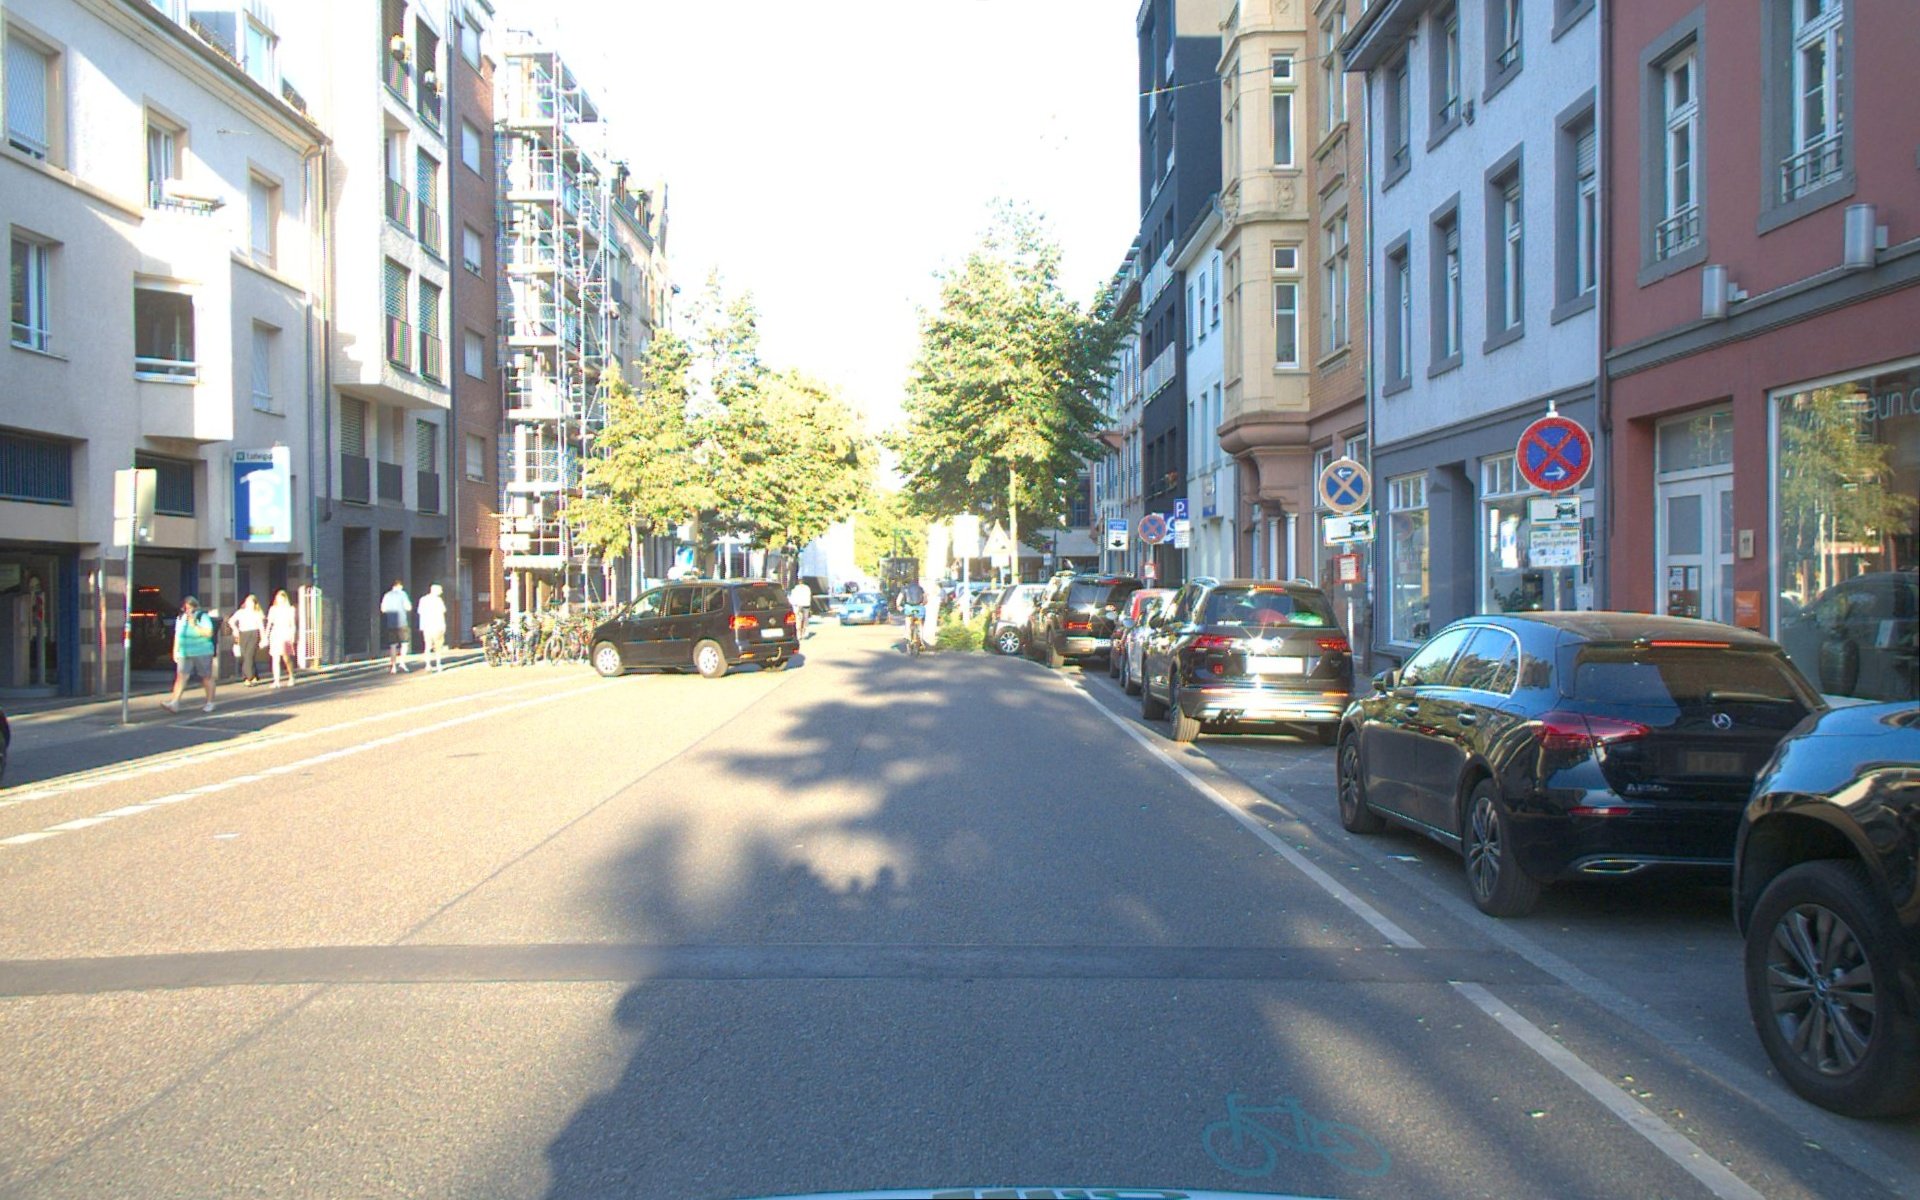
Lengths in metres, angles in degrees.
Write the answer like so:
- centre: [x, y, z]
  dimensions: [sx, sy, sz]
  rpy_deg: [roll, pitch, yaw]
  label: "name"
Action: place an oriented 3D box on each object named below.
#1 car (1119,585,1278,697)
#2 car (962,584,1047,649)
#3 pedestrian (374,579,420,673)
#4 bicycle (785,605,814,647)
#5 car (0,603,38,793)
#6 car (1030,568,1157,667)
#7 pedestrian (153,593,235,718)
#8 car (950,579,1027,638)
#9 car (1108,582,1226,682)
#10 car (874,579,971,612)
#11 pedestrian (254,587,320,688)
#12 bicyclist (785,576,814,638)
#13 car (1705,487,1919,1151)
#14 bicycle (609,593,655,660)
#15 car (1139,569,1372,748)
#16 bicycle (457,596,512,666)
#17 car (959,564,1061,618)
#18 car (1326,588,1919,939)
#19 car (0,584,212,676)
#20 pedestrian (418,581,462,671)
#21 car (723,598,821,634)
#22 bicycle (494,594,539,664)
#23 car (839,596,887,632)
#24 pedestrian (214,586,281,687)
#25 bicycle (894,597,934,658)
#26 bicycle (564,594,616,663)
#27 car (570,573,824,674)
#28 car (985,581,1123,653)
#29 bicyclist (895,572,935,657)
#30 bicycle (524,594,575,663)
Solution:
- centre: [3.212, 0.513, 22.874]
  dimensions: [1.632, 1.402, 3.802]
  rpy_deg: [1, 0, 0]
  label: "car"
- centre: [1.176, 0.425, 45.945]
  dimensions: [1.954, 1.697, 4.506]
  rpy_deg: [1, 0, -4]
  label: "car"
- centre: [-10.954, 0.507, 32.185]
  dimensions: [0.703, 1.798, 0.693]
  rpy_deg: [1, 0, -9]
  label: "pedestrian"
- centre: [-4.852, 0.768, 50.043]
  dimensions: [0.765, 1.225, 2.019]
  rpy_deg: [-1, 0, -3]
  label: "bicycle"
- centre: [-8.761, 0.822, 12.653]
  dimensions: [1.756, 1.562, 3.187]
  rpy_deg: [0, 1, -4]
  label: "car"
- centre: [2.458, 0.304, 31.444]
  dimensions: [1.788, 1.725, 4.365]
  rpy_deg: [1, 0, -4]
  label: "car"
- centre: [-10.526, 0.745, 22.747]
  dimensions: [0.702, 1.670, 0.951]
  rpy_deg: [1, 0, -3]
  label: "pedestrian"
- centre: [0.967, 0.284, 59.063]
  dimensions: [2.221, 1.796, 4.506]
  rpy_deg: [5, 0, -4]
  label: "car"
- centre: [3.293, 0.488, 26.822]
  dimensions: [1.554, 1.509, 3.267]
  rpy_deg: [1, 0, 1]
  label: "car"
- centre: [-1.801, -0.216, 79.496]
  dimensions: [4.408, 1.506, 1.867]
  rpy_deg: [1, 0, -36]
  label: "car"
- centre: [-11.318, 0.616, 27.849]
  dimensions: [0.701, 1.670, 0.855]
  rpy_deg: [1, 0, 4]
  label: "pedestrian"
- centre: [-4.854, 0.205, 50.047]
  dimensions: [0.765, 1.861, 1.006]
  rpy_deg: [-1, 0, -3]
  label: "bicyclist"
- centre: [3.559, 0.602, 3.146]
  dimensions: [1.845, 1.785, 5.056]
  rpy_deg: [1, 0, -2]
  label: "car"
- centre: [-7.065, 0.541, 35.753]
  dimensions: [0.829, 1.374, 3.180]
  rpy_deg: [-1, 0, -9]
  label: "bicycle"
- centre: [3.067, 0.557, 17.995]
  dimensions: [1.775, 1.697, 4.205]
  rpy_deg: [1, 0, 0]
  label: "car"
- centre: [-10.098, 0.621, 35.205]
  dimensions: [0.707, 1.420, 3.146]
  rpy_deg: [1, 0, -9]
  label: "bicycle"
- centre: [1.981, -0.355, 64.694]
  dimensions: [3.903, 2.049, 2.001]
  rpy_deg: [-1, 1, 3]
  label: "car"
- centre: [3.420, 0.712, 9.359]
  dimensions: [1.726, 1.509, 4.306]
  rpy_deg: [1, 0, 0]
  label: "car"
- centre: [-16.713, 0.526, 31.040]
  dimensions: [4.401, 1.629, 2.001]
  rpy_deg: [1, 0, 2]
  label: "car"
- centre: [-10.344, 0.516, 32.913]
  dimensions: [0.703, 1.771, 0.737]
  rpy_deg: [1, 0, -9]
  label: "pedestrian"
- centre: [-8.162, 0.678, 72.195]
  dimensions: [4.018, 1.491, 1.890]
  rpy_deg: [1, 0, 1]
  label: "car"
- centre: [-9.443, 0.587, 35.323]
  dimensions: [0.574, 1.420, 3.154]
  rpy_deg: [1, 0, -9]
  label: "bicycle"
- centre: [-4.238, 0.585, 72.524]
  dimensions: [1.800, 1.466, 4.332]
  rpy_deg: [1, 0, 0]
  label: "car"
- centre: [-12.026, 0.599, 27.949]
  dimensions: [0.701, 1.670, 0.855]
  rpy_deg: [1, 0, 4]
  label: "pedestrian"
- centre: [-0.980, 0.557, 34.872]
  dimensions: [0.765, 1.225, 2.019]
  rpy_deg: [-1, 0, -3]
  label: "bicycle"
- centre: [-7.935, 0.574, 35.604]
  dimensions: [0.876, 1.420, 3.159]
  rpy_deg: [0, 0, -9]
  label: "bicycle"
- centre: [-4.724, 0.463, 29.408]
  dimensions: [4.422, 1.630, 1.991]
  rpy_deg: [-3, -2, 38]
  label: "car"
- centre: [2.081, 0.374, 37.038]
  dimensions: [2.910, 1.563, 1.432]
  rpy_deg: [1, 0, -5]
  label: "car"
- centre: [-0.952, 0.302, 34.684]
  dimensions: [0.765, 1.726, 1.006]
  rpy_deg: [-1, 0, -3]
  label: "bicyclist"
- centre: [-8.766, 0.580, 35.453]
  dimensions: [0.766, 1.397, 3.136]
  rpy_deg: [1, 0, -9]
  label: "bicycle"
